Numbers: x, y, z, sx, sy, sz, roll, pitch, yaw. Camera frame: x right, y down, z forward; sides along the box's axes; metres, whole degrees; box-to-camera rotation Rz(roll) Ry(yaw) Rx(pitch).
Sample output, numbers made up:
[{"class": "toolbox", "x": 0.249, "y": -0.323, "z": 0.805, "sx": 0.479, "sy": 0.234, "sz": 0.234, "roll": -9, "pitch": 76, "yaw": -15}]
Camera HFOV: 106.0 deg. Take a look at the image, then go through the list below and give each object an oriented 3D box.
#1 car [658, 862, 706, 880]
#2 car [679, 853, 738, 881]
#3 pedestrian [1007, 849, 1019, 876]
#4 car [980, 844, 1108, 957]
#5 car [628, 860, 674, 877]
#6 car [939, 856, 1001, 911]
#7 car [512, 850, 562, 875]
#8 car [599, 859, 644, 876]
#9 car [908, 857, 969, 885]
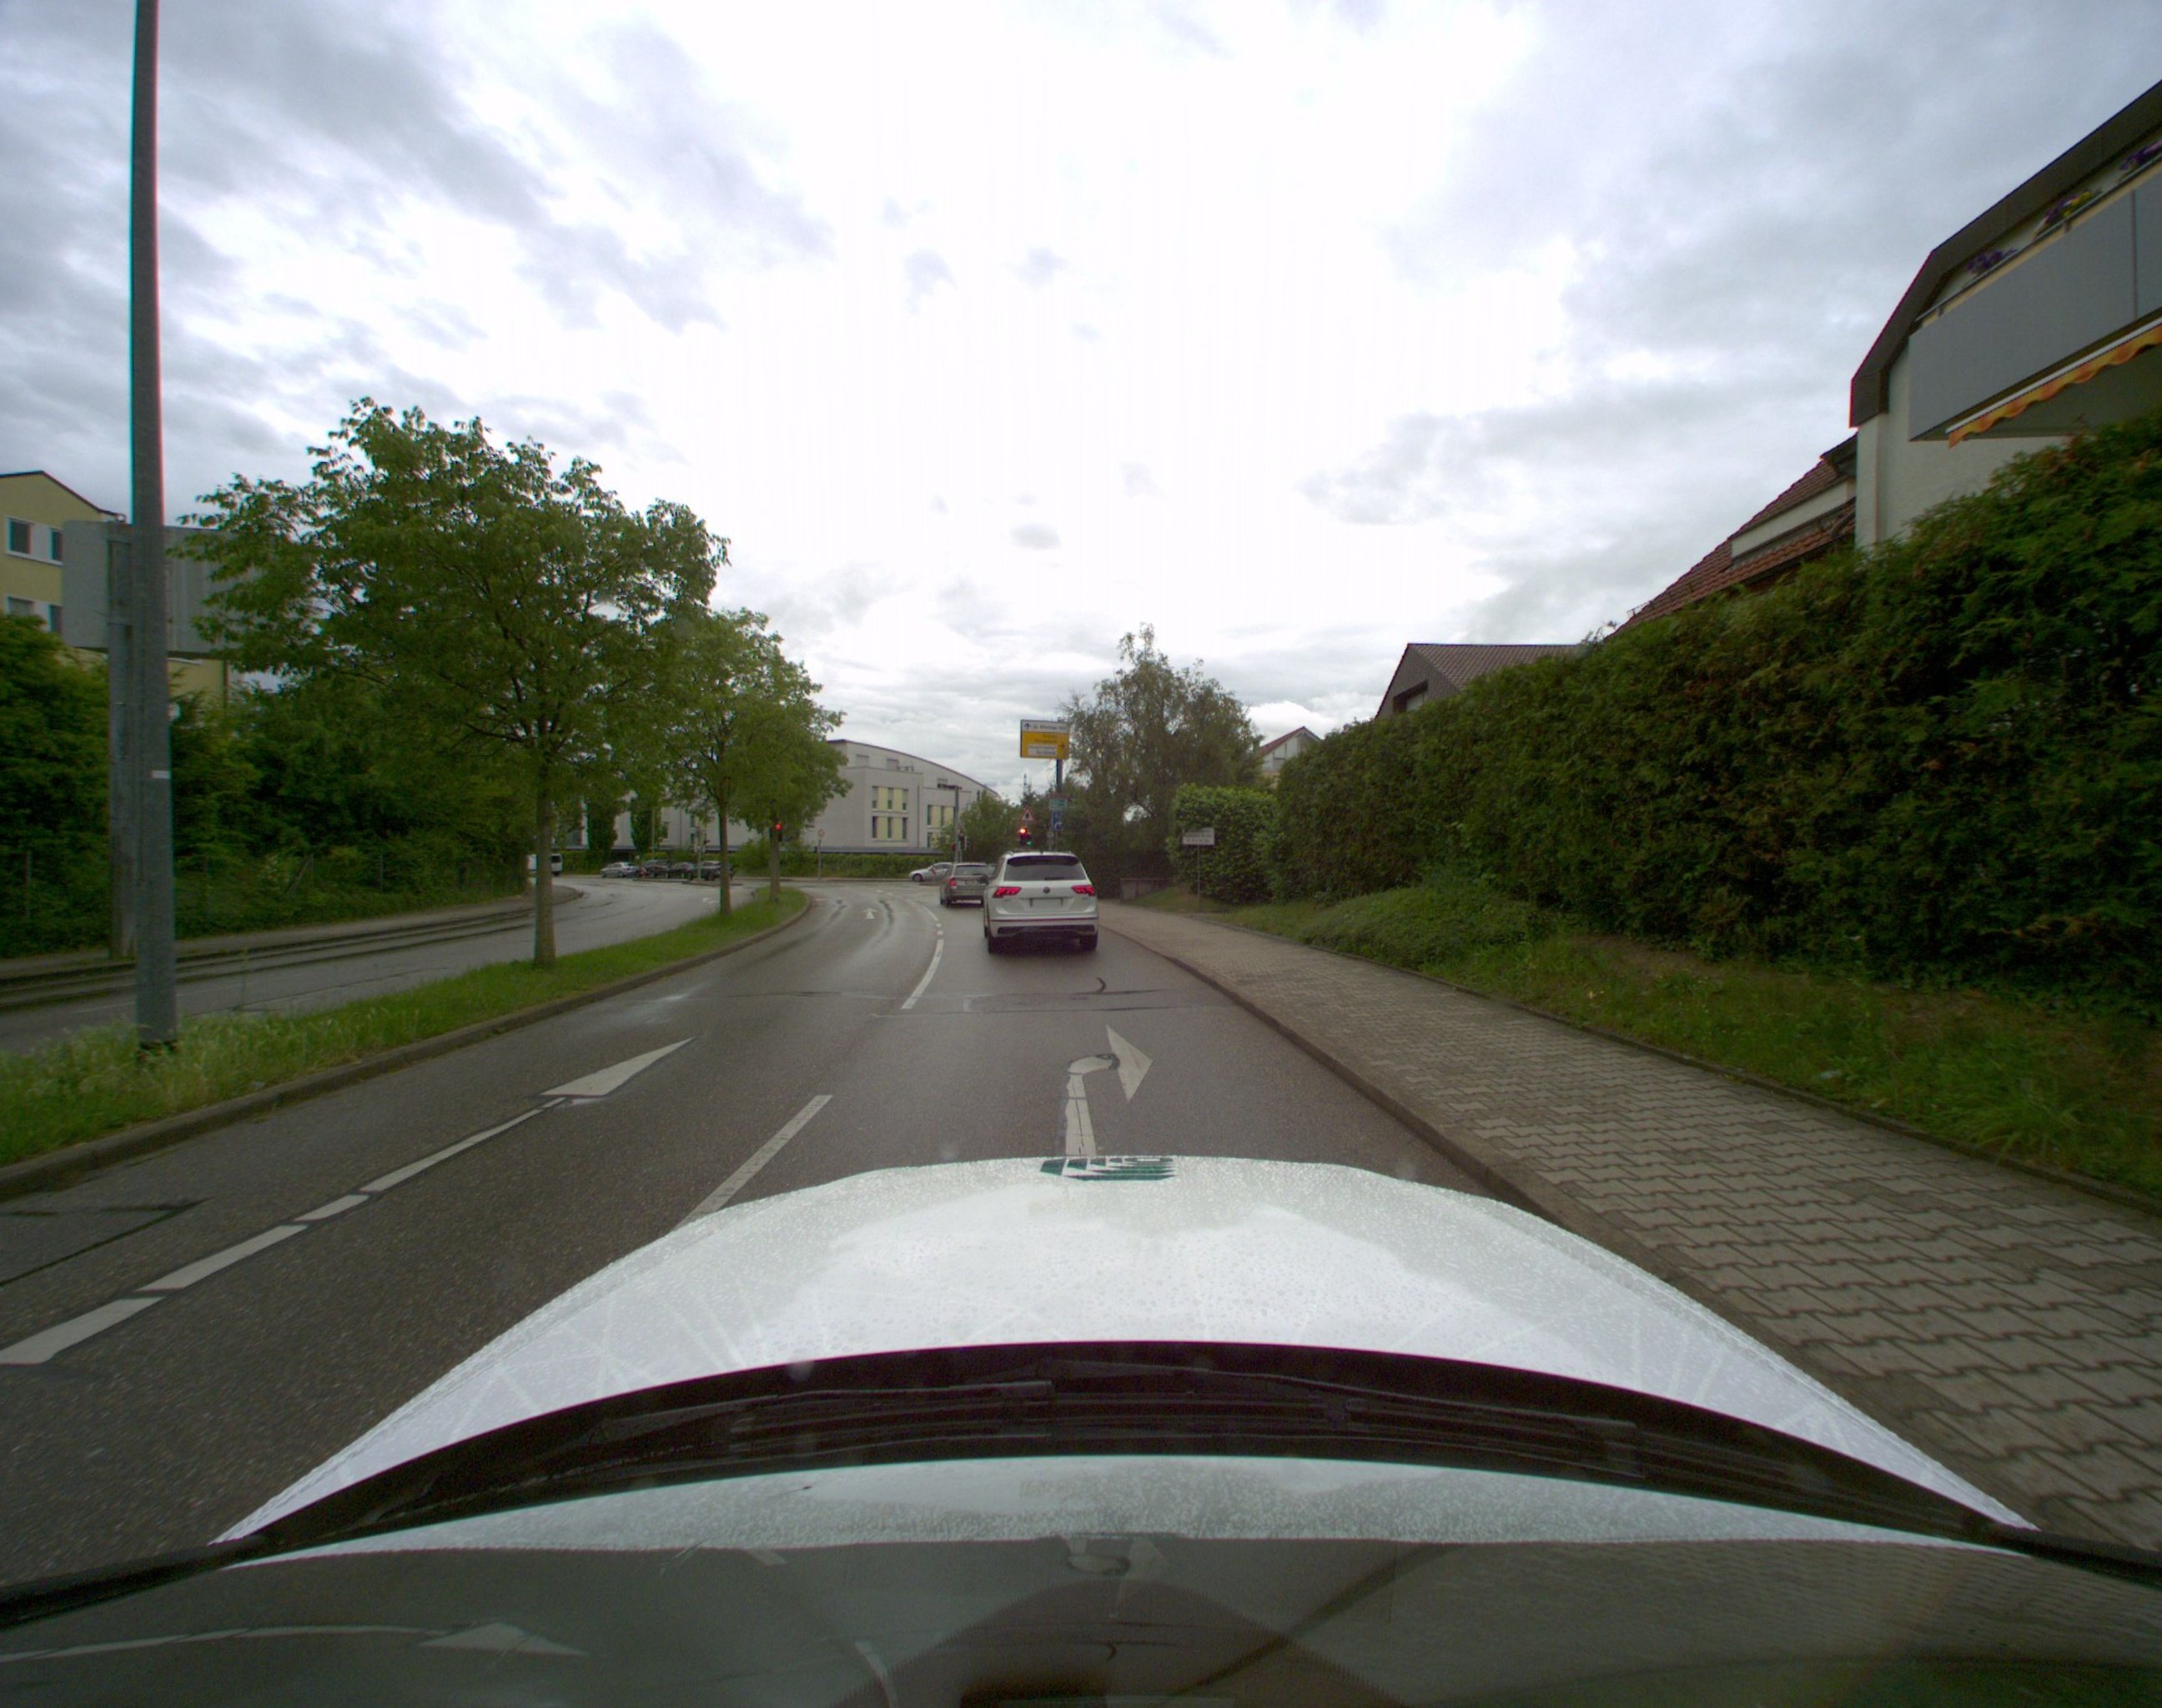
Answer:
[{"class": "car", "x": -36.389, "y": 1.553, "z": 74.261, "sx": 3.949, "sy": 1.555, "sz": 2.013, "roll": 0, "pitch": 1, "yaw": 31}, {"class": "car", "x": -29.950, "y": 1.014, "z": 65.513, "sx": 3.954, "sy": 2.013, "sz": 1.991, "roll": 3, "pitch": 2, "yaw": 20}, {"class": "pedestrian", "x": -5.267, "y": 0.650, "z": 63.117, "sx": 0.800, "sy": 2.013, "sz": 0.845, "roll": -1, "pitch": 3, "yaw": -15}, {"class": "car", "x": -0.829, "y": 0.723, "z": 14.773, "sx": 1.920, "sy": 1.722, "sz": 4.253, "roll": 0, "pitch": 0, "yaw": -8}, {"class": "car", "x": -40.309, "y": 1.327, "z": 76.389, "sx": 3.949, "sy": 1.555, "sz": 2.012, "roll": 0, "pitch": 0, "yaw": 31}, {"class": "car", "x": -3.871, "y": 0.946, "z": 27.860, "sx": 1.766, "sy": 1.509, "sz": 3.985, "roll": 2, "pitch": 2, "yaw": -12}, {"class": "car", "x": -57.609, "y": 0.887, "z": 86.202, "sx": 5.188, "sy": 2.414, "sz": 2.617, "roll": -3, "pitch": -1, "yaw": 33}, {"class": "car", "x": -44.431, "y": 1.318, "z": 78.740, "sx": 3.949, "sy": 1.555, "sz": 2.012, "roll": 0, "pitch": 0, "yaw": 31}, {"class": "car", "x": -10.209, "y": 1.189, "z": 58.635, "sx": 3.975, "sy": 1.758, "sz": 2.000, "roll": 3, "pitch": 2, "yaw": -1}]
